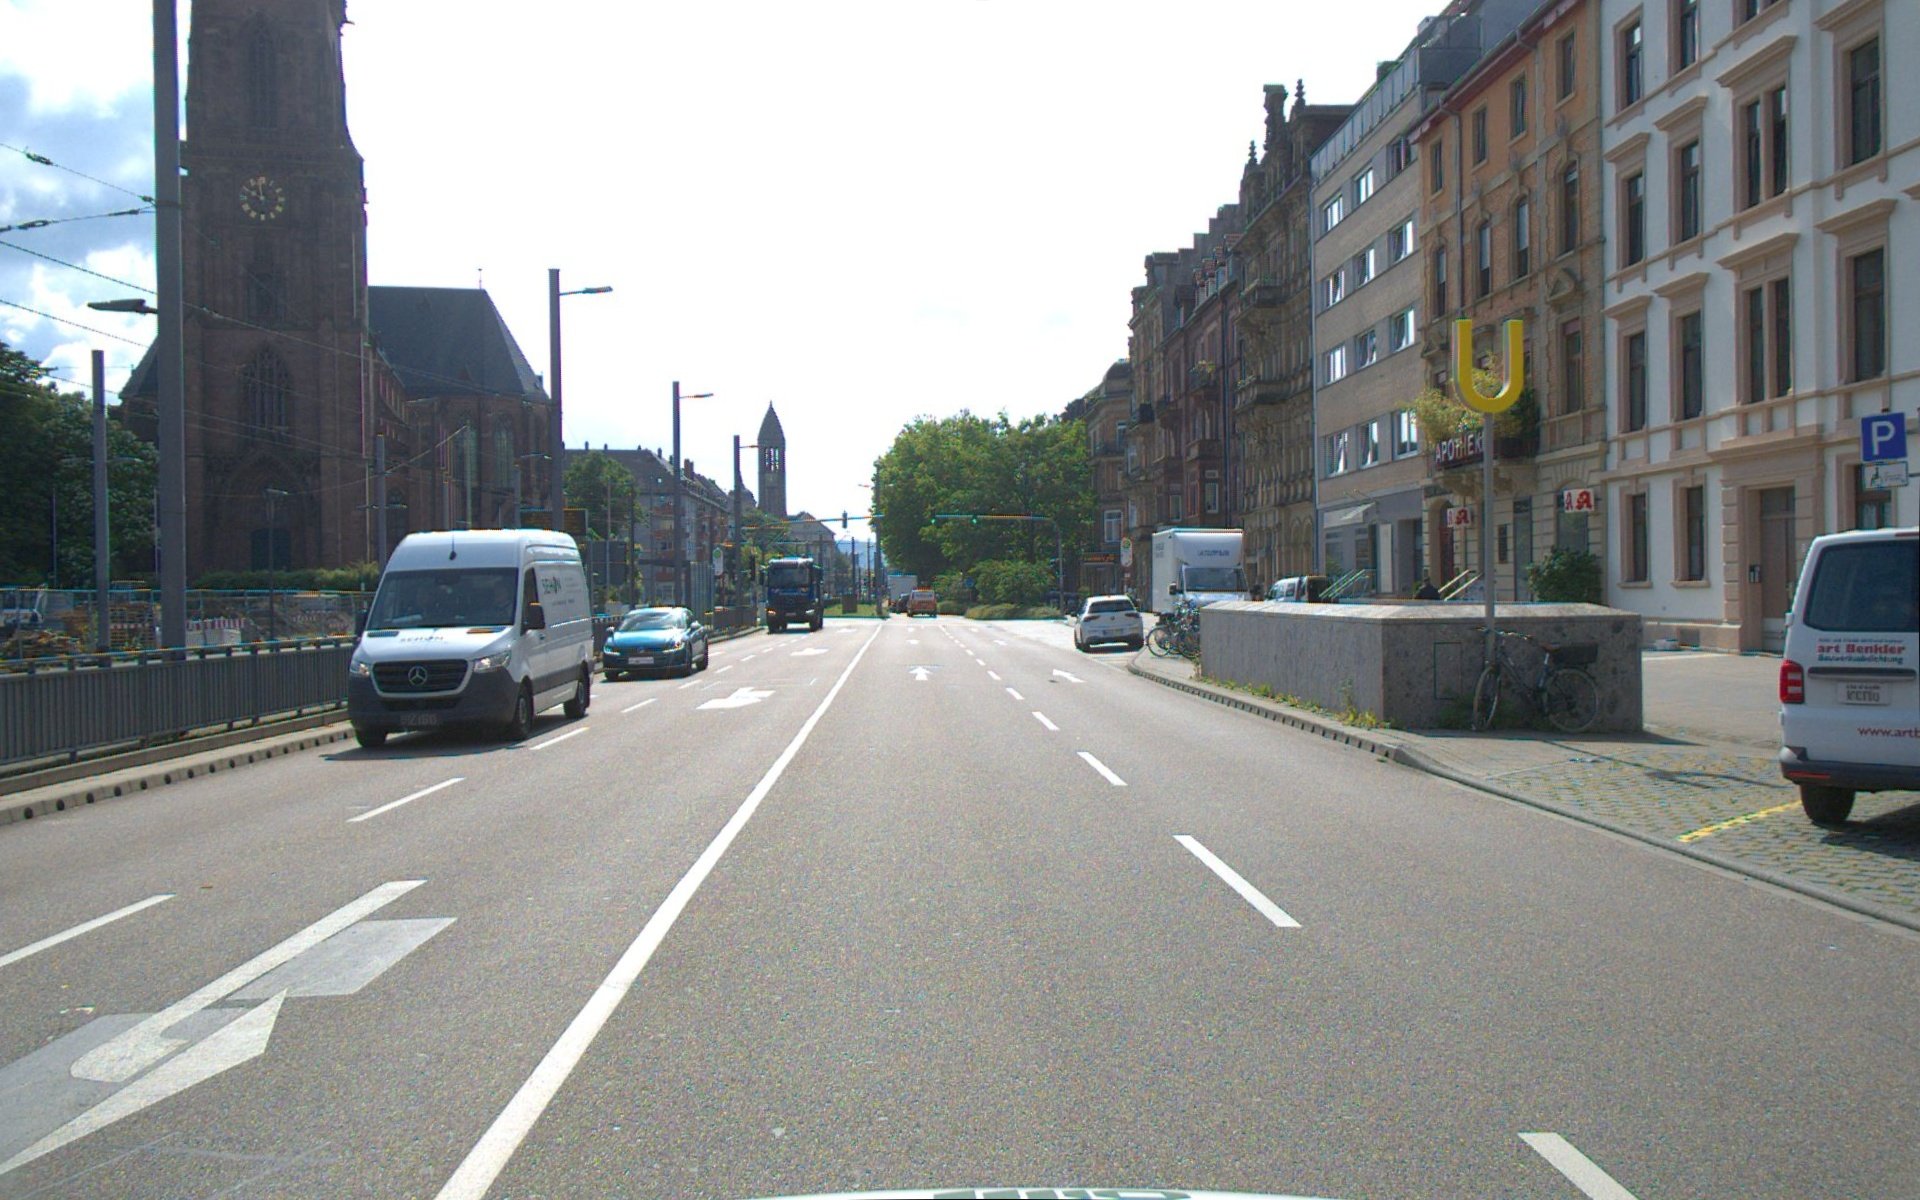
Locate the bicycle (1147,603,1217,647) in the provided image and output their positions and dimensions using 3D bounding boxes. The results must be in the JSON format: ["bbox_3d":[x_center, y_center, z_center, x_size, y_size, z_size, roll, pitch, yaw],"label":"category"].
[{"bbox_3d":[5.596,0.626,41.718,1.725,1.104,0.372,0,1,-8],"label":"bicycle"}]

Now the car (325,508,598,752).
[{"bbox_3d":[-6.196,0.322,21.332,1.954,2.667,5.577,-2,0,-3],"label":"car"}]

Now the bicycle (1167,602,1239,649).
[{"bbox_3d":[5.912,0.617,40.213,1.728,1.104,0.371,0,1,-15],"label":"bicycle"}]

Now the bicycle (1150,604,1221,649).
[{"bbox_3d":[5.628,0.659,41.315,1.725,1.104,0.372,0,1,-8],"label":"bicycle"}]

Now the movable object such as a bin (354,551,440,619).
[{"bbox_3d":[-32.786,-0.868,96.524,2.609,3.796,5.597,-1,0,5],"label":"movable object such as a bin"}]

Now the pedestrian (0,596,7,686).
[{"bbox_3d":[-20.103,0.845,33.476,0.976,1.831,1.047,1,2,3],"label":"pedestrian"}]

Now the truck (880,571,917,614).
[{"bbox_3d":[-5.494,-0.619,148.909,3.105,3.344,7.292,0,-4,-1],"label":"truck"}]

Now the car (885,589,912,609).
[{"bbox_3d":[-4.830,-0.088,129.117,1.954,1.534,3.997,-1,0,-4],"label":"car"}]

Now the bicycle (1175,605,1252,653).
[{"bbox_3d":[5.847,0.665,38.127,1.722,1.104,0.372,0,1,0],"label":"bicycle"}]

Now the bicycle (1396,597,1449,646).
[{"bbox_3d":[11.375,0.548,40.745,0.689,1.066,2.208,1,-4,0],"label":"bicycle"}]

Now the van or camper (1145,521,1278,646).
[{"bbox_3d":[7.330,-0.461,49.250,2.657,3.389,7.638,-1,0,-1],"label":"van or camper"}]

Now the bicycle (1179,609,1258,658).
[{"bbox_3d":[5.891,0.755,37.726,1.722,1.104,0.372,0,1,0],"label":"bicycle"}]

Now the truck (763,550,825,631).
[{"bbox_3d":[-8.008,-0.469,80.362,2.413,3.712,7.447,-1,0,-2],"label":"truck"}]

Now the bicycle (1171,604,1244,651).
[{"bbox_3d":[5.940,0.664,39.766,1.728,1.104,0.371,0,1,-15],"label":"bicycle"}]

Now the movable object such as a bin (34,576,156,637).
[{"bbox_3d":[-42.126,0.326,80.654,4.804,2.851,1.999,-1,0,-2],"label":"movable object such as a bin"}]

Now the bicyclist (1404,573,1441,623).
[{"bbox_3d":[11.389,-0.047,40.731,0.693,1.168,0.813,1,-4,0],"label":"bicyclist"}]

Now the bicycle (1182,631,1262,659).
[{"bbox_3d":[5.764,0.984,36.502,0.633,0.596,1.743,-1,0,-42],"label":"bicycle"}]

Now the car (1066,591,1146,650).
[{"bbox_3d":[4.052,0.567,46.620,1.754,1.462,4.342,-4,0,0],"label":"car"}]

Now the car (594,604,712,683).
[{"bbox_3d":[-6.709,0.905,36.561,1.812,1.480,4.554,-2,1,-1],"label":"car"}]

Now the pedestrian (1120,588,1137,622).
[{"bbox_3d":[10.173,0.314,100.108,0.868,2.049,0.995,1,-1,-2],"label":"pedestrian"}]

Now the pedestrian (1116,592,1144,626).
[{"bbox_3d":[6.741,0.361,65.646,0.738,1.339,0.809,2,-1,-41],"label":"pedestrian"}]

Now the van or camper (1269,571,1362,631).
[{"bbox_3d":[12.757,0.016,59.725,1.954,1.938,5.296,-3,0,-2],"label":"van or camper"}]

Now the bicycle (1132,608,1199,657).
[{"bbox_3d":[4.839,0.755,38.934,1.574,1.104,0.370,0,1,-22],"label":"bicycle"}]

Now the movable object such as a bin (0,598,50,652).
[{"bbox_3d":[-41.172,1.057,71.684,1.960,2.244,4.257,-1,0,-14],"label":"movable object such as a bin"}]

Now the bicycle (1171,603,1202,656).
[{"bbox_3d":[5.007,0.642,36.613,0.364,1.090,1.763,0,1,-2],"label":"bicycle"}]

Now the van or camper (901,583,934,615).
[{"bbox_3d":[-2.989,-0.057,115.851,1.970,1.948,4.516,1,-4,-6],"label":"van or camper"}]

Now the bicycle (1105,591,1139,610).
[{"bbox_3d":[10.611,0.041,108.382,2.148,1.201,0.683,-1,0,-7],"label":"bicycle"}]

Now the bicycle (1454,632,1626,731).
[{"bbox_3d":[6.347,0.888,18.113,1.740,1.021,0.511,2,0,-11],"label":"bicycle"}]

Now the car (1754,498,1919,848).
[{"bbox_3d":[7.566,0.457,11.704,2.045,2.121,4.864,2,1,44],"label":"car"}]

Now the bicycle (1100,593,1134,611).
[{"bbox_3d":[10.392,0.126,109.763,2.148,1.201,0.683,-1,0,-7],"label":"bicycle"}]
